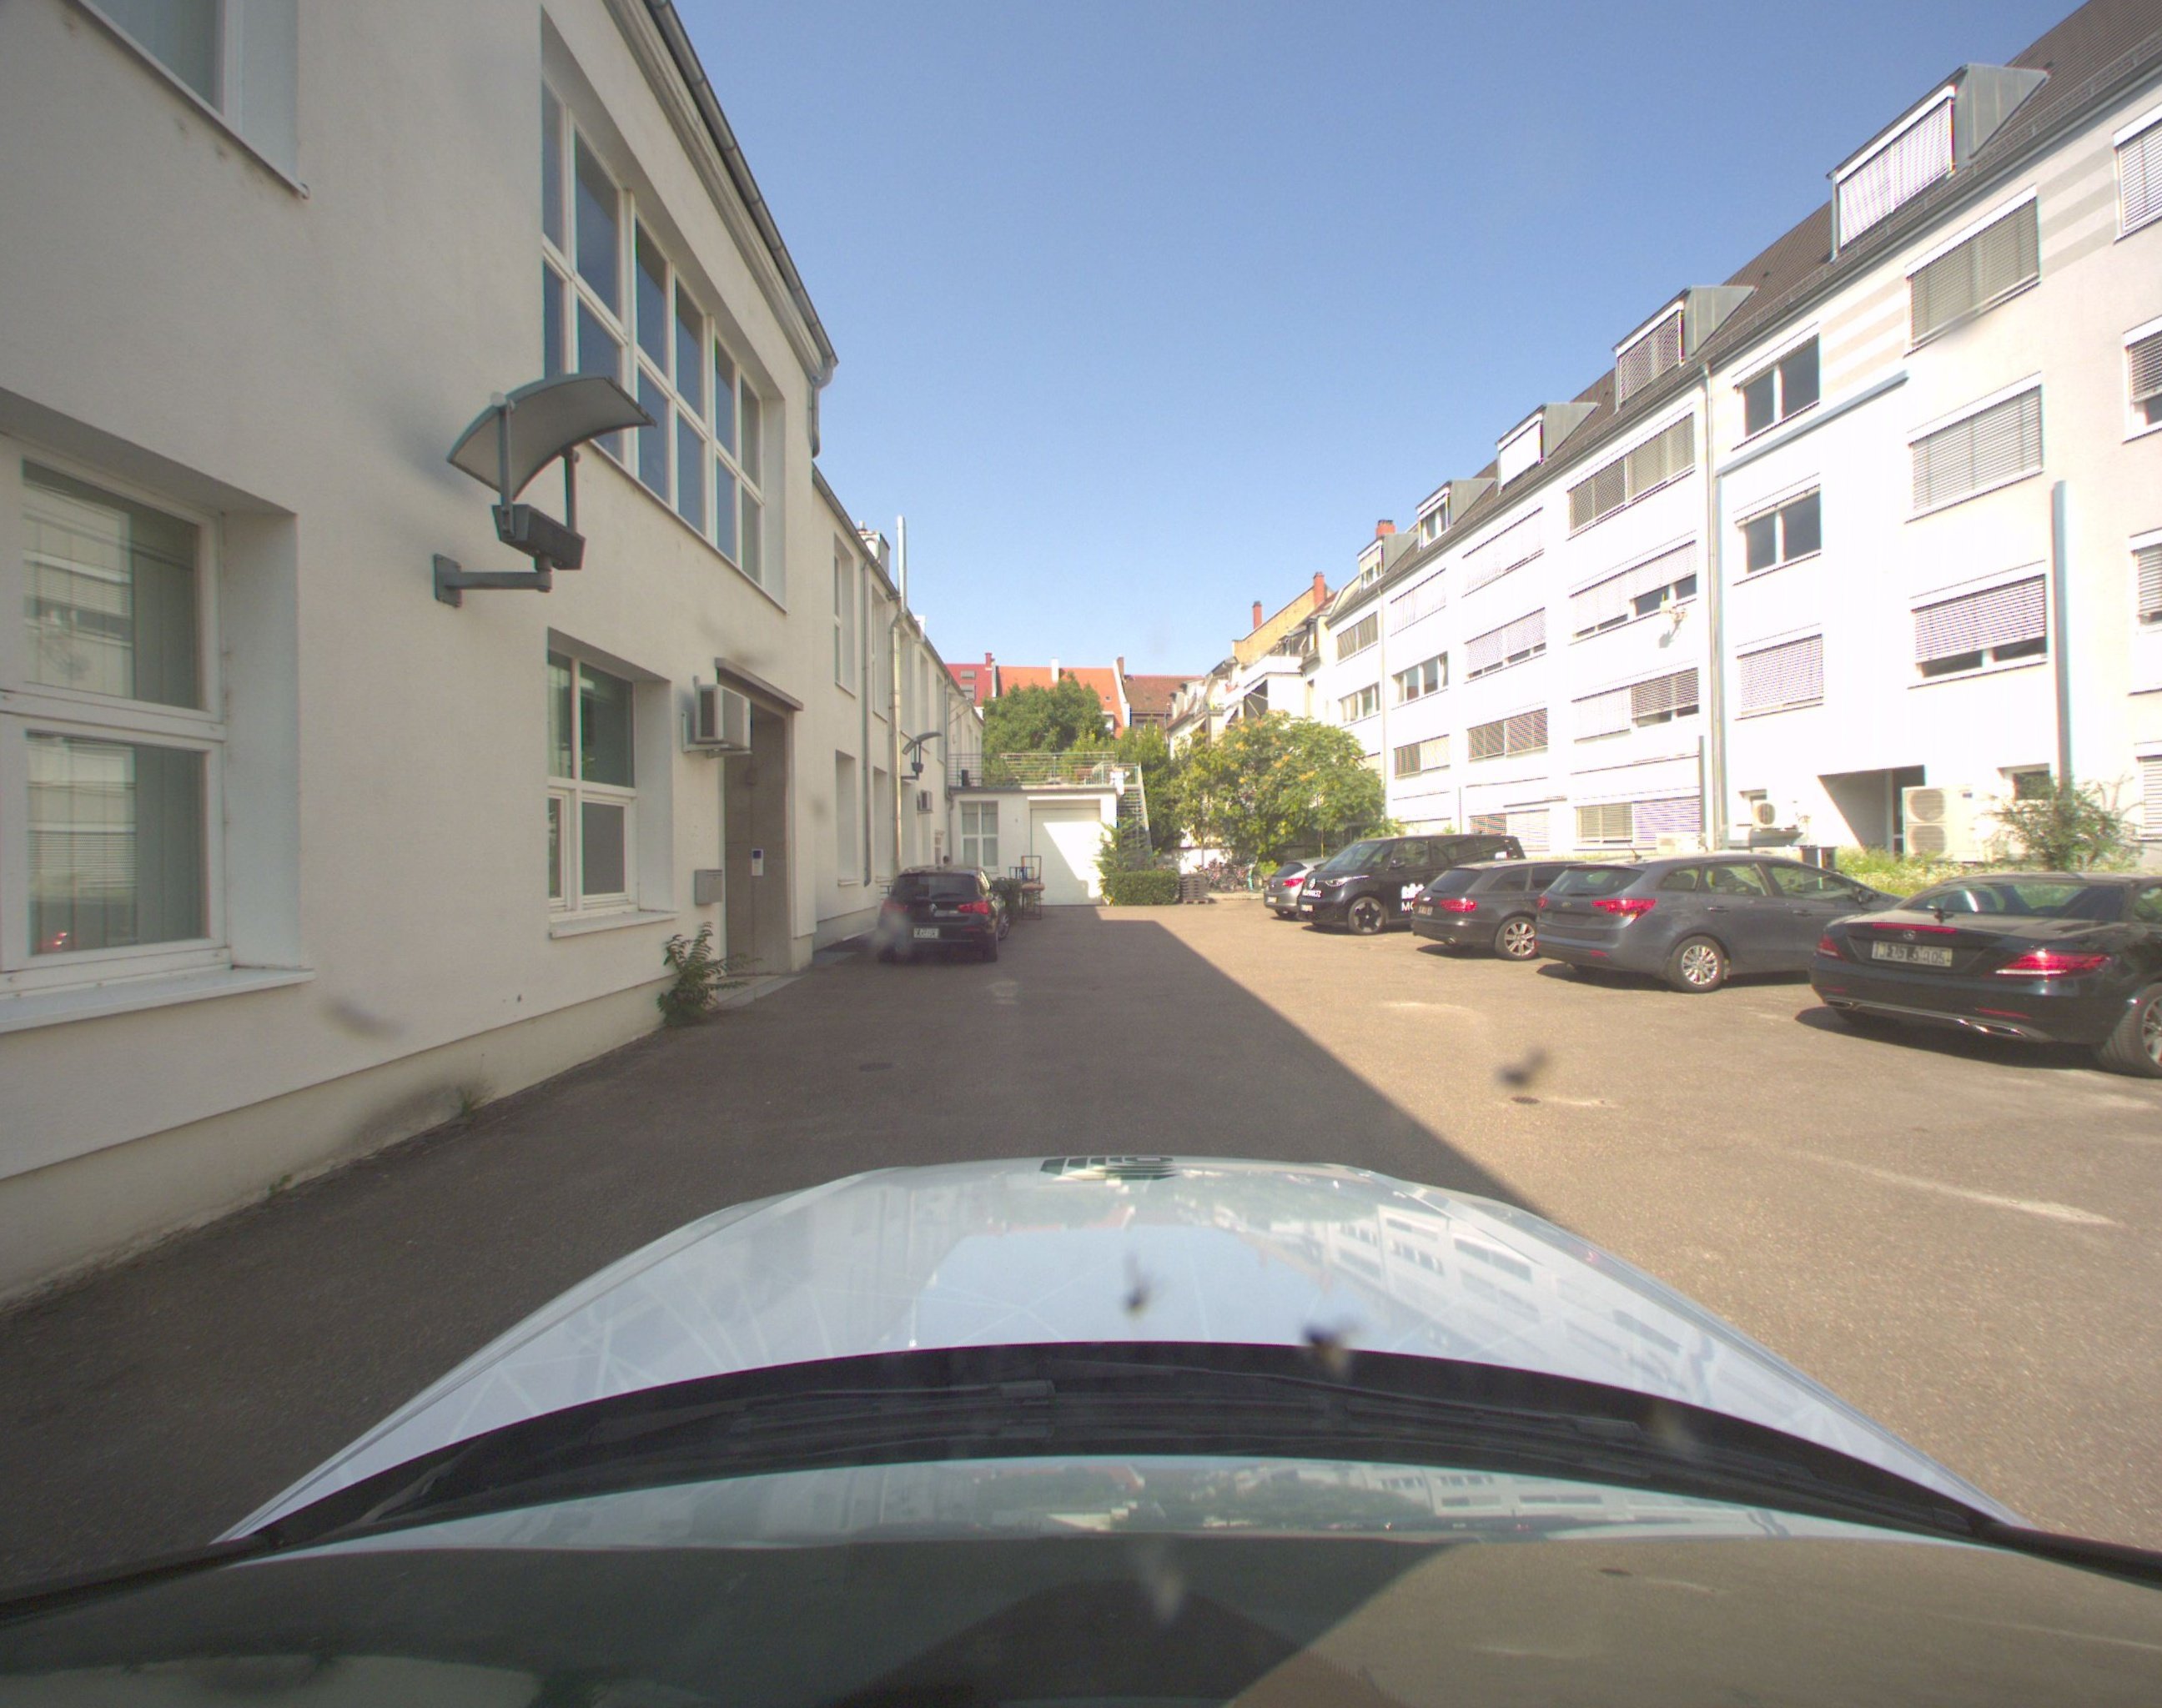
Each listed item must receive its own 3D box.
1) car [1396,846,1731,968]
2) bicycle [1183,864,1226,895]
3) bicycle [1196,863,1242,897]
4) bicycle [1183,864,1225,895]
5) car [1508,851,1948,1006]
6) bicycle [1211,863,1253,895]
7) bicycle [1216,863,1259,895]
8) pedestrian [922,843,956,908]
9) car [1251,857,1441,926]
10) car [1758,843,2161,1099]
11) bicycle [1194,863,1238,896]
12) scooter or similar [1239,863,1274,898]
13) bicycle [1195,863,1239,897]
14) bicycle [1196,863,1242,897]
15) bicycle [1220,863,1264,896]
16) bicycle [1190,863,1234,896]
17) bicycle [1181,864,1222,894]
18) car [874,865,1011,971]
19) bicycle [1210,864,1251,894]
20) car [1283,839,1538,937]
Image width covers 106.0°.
[{"bbox_3d":[7.183,0.747,12.382,4.108,1.692,1.769,0,-1,-4],"label":"car"},{"bbox_3d":[4.882,1.004,32.212,1.618,1.214,0.424,-1,-1,-2],"label":"bicycle"},{"bbox_3d":[5.158,0.975,30.433,1.617,1.214,0.327,-1,-1,0],"label":"bicycle"},{"bbox_3d":[4.960,1.013,32.848,1.621,1.214,0.423,-1,-1,-7],"label":"bicycle"},{"bbox_3d":[7.403,0.783,9.567,3.857,1.589,1.875,0,-1,-6],"label":"car"},{"bbox_3d":[6.025,1.005,32.533,1.612,1.214,0.425,-1,-1,11],"label":"bicycle"},{"bbox_3d":[6.131,0.996,31.958,1.612,1.214,0.425,-1,-1,12],"label":"bicycle"},{"bbox_3d":[-4.479,0.672,25.730,0.911,2.014,0.934,0,-1,-1],"label":"pedestrian"},{"bbox_3d":[6.264,0.852,19.447,3.932,1.482,1.768,-1,-1,-10],"label":"car"},{"bbox_3d":[7.815,0.742,6.373,3.800,1.589,1.890,0,-1,-11],"label":"car"},{"bbox_3d":[5.158,0.987,31.177,1.613,1.214,0.328,-1,-1,9],"label":"bicycle"},{"bbox_3d":[6.426,0.969,29.894,0.381,1.261,1.335,-1,-1,-33],"label":"scooter or similar"},{"bbox_3d":[5.126,0.980,30.726,1.617,1.214,0.327,-1,-1,0],"label":"bicycle"},{"bbox_3d":[5.095,0.970,30.110,1.617,1.214,0.327,-1,-1,0],"label":"bicycle"},{"bbox_3d":[6.160,0.982,31.099,1.611,1.214,0.328,-2,-1,14],"label":"bicycle"},{"bbox_3d":[5.076,0.992,31.539,1.612,1.214,0.328,-1,-1,12],"label":"bicycle"},{"bbox_3d":[4.949,1.023,33.450,1.621,1.214,0.423,-1,-1,-6],"label":"bicycle"},{"bbox_3d":[-2.086,0.911,13.234,1.684,1.459,3.919,0,-1,-2],"label":"car"},{"bbox_3d":[6.158,1.021,33.561,1.612,1.214,0.425,-1,-1,11],"label":"bicycle"},{"bbox_3d":[6.623,0.647,16.574,4.501,1.794,1.876,-1,-1,-10],"label":"car"}]
